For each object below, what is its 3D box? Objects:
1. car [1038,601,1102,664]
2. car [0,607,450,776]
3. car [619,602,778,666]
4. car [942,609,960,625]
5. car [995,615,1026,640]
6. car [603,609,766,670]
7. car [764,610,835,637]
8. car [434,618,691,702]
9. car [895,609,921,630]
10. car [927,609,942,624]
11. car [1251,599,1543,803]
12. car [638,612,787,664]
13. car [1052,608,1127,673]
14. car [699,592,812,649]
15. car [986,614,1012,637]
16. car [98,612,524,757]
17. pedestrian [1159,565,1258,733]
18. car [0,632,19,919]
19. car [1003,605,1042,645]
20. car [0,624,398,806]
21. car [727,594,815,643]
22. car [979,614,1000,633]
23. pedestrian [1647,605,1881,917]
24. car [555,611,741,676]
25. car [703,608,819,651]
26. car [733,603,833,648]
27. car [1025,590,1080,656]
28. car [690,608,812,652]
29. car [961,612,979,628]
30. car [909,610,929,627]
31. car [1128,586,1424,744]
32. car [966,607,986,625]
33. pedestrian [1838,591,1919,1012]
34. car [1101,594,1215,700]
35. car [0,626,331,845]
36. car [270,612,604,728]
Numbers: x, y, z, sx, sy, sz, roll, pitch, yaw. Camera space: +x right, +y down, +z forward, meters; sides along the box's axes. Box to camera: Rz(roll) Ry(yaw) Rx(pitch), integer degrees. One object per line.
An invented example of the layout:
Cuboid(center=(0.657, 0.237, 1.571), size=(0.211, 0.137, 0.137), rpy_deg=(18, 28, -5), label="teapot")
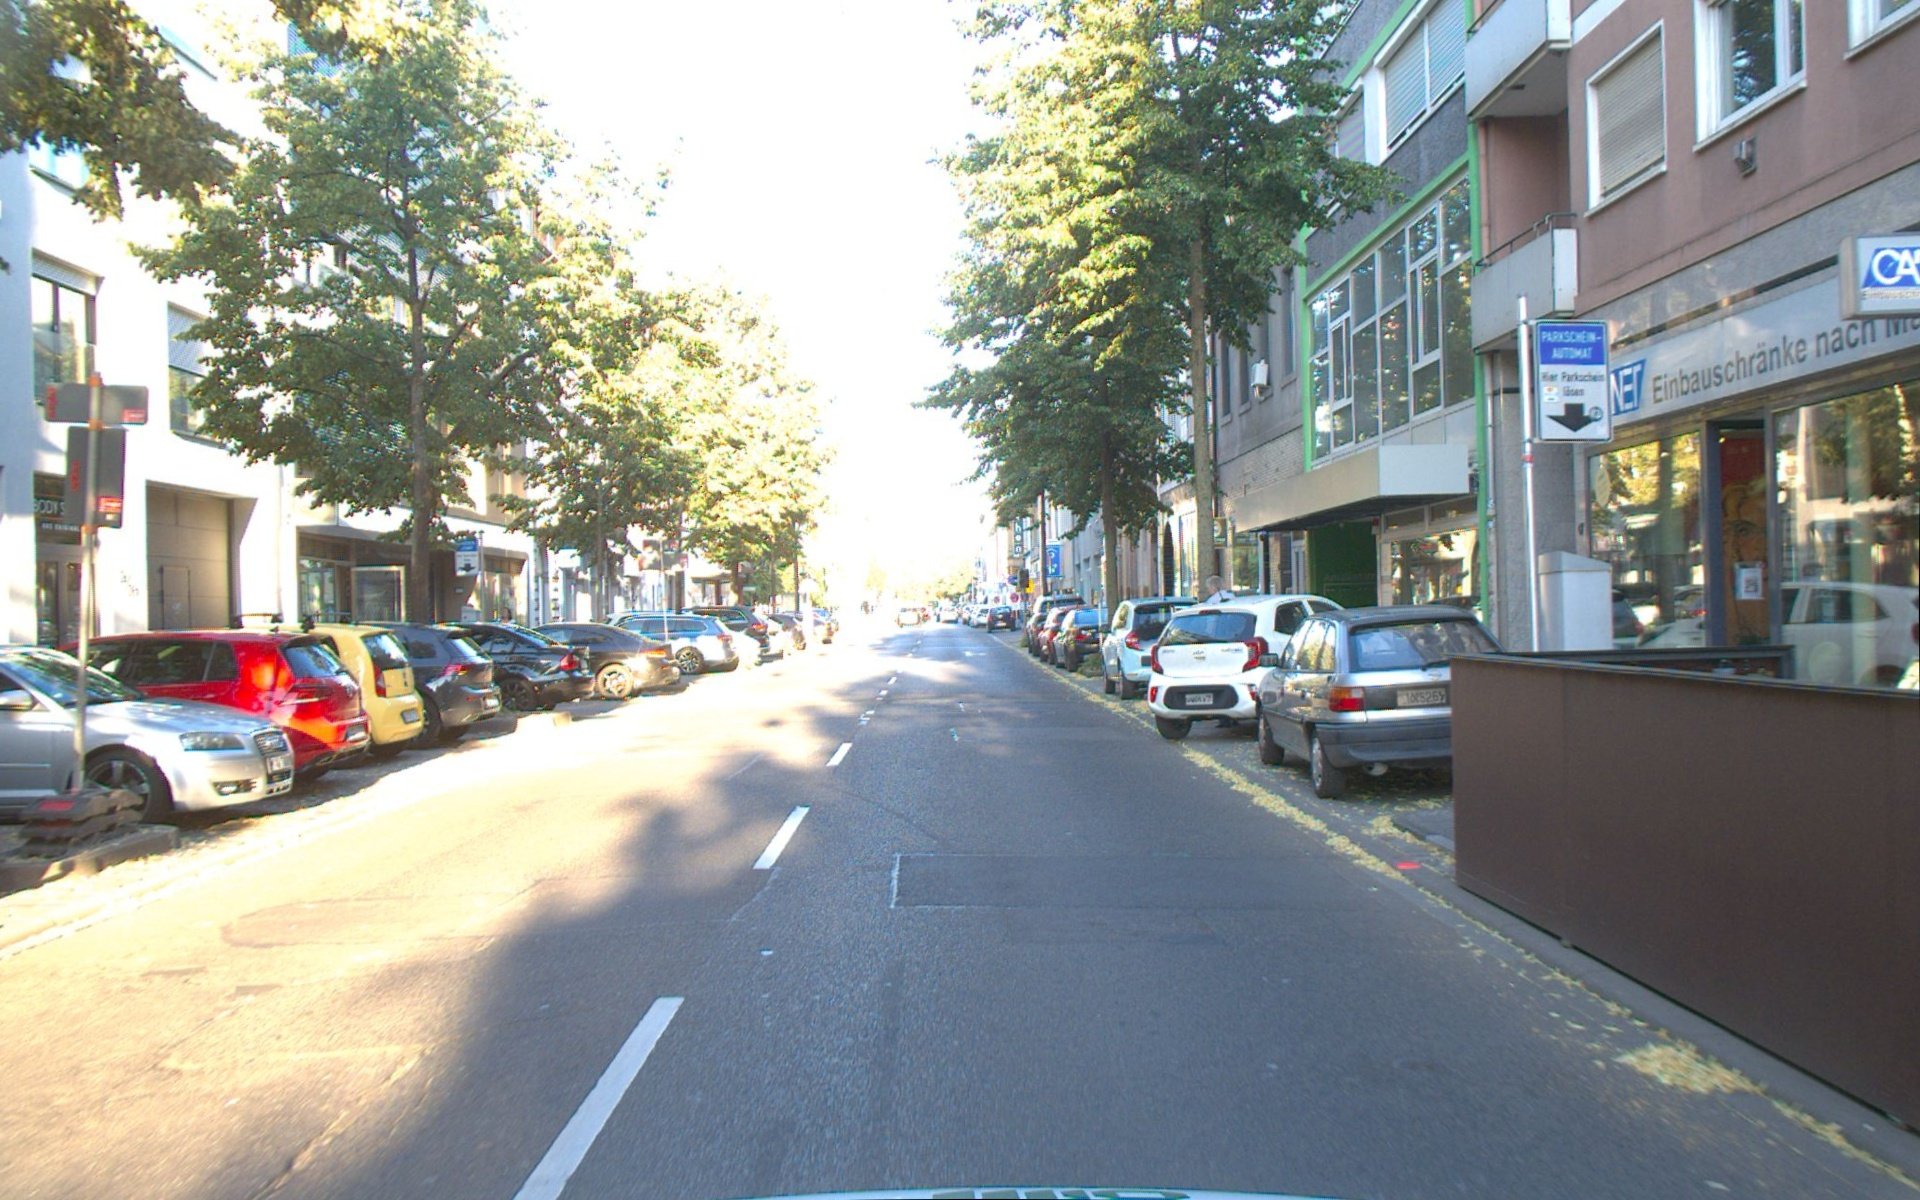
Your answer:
Cuboid(center=(2.921, 0.844, 44.299), size=(1.482, 1.589, 3.514), rpy_deg=(-1, 0, 0), label="car")
Cuboid(center=(-7.944, 0.937, 17.731), size=(4.351, 1.667, 1.859), rpy_deg=(-1, 0, 0), label="car")
Cuboid(center=(-7.640, 0.978, 48.575), size=(4.351, 1.790, 1.919), rpy_deg=(-1, 0, 0), label="car")
Cuboid(center=(-0.897, 1.710, 165.508), size=(1.685, 1.501, 3.303), rpy_deg=(-2, -1, 0), label="car")
Cuboid(center=(2.525, 1.363, 83.649), size=(1.482, 1.222, 3.303), rpy_deg=(-1, 0, 0), label="car")
Cuboid(center=(-7.692, 1.081, 46.472), size=(4.216, 1.626, 1.919), rpy_deg=(-1, 0, 0), label="car")
Cuboid(center=(-10.332, 1.506, 106.570), size=(4.351, 1.674, 1.919), rpy_deg=(-1, 0, 0), label="car")
Cuboid(center=(-7.421, 1.107, 31.203), size=(4.351, 1.474, 1.919), rpy_deg=(-1, 0, 0), label="car")
Cuboid(center=(-4.079, 1.542, 130.125), size=(1.888, 1.599, 3.303), rpy_deg=(-1, -1, -1), label="car")
Cuboid(center=(-2.728, 1.756, 178.819), size=(1.538, 1.532, 3.303), rpy_deg=(-2, -1, 0), label="car")
Cuboid(center=(3.496, 0.739, 13.860), size=(1.511, 1.458, 3.678), rpy_deg=(-1, 0, 1), label="car")
Cuboid(center=(-7.692, 1.168, 51.693), size=(4.351, 1.525, 1.919), rpy_deg=(-1, 0, 0), label="car")
Cuboid(center=(3.032, 0.915, 39.205), size=(1.482, 1.430, 3.837), rpy_deg=(-1, 0, 0), label="car")
Cuboid(center=(-8.362, 0.841, 67.919), size=(4.351, 2.238, 1.919), rpy_deg=(-1, 0, 0), label="car")
Cuboid(center=(2.315, 1.504, 98.497), size=(1.482, 1.298, 3.303), rpy_deg=(-1, 0, 0), label="car")
Cuboid(center=(-7.711, 0.977, 19.965), size=(4.351, 1.595, 1.919), rpy_deg=(-1, 0, 0), label="car")
Cuboid(center=(2.965, 0.571, 19.826), size=(0.900, 1.959, 1.015), rpy_deg=(0, 0, -11), label="pedestrian")
Cuboid(center=(-7.326, 0.965, 8.108), size=(4.351, 1.533, 1.844), rpy_deg=(-1, 0, 0), label="car")
Cuboid(center=(2.590, 1.042, 69.178), size=(1.482, 1.589, 3.773), rpy_deg=(-1, 0, 1), label="car")
Cuboid(center=(-7.591, 1.001, 14.979), size=(4.351, 1.484, 1.859), rpy_deg=(-1, 0, 0), label="car")
Cuboid(center=(-9.800, 0.949, 85.991), size=(4.351, 2.477, 1.919), rpy_deg=(-1, 0, 0), label="car")
Cuboid(center=(2.072, 1.619, 116.645), size=(1.482, 1.285, 3.303), rpy_deg=(-1, 0, 0), label="car")
Cuboid(center=(3.828, 0.734, 7.930), size=(0.711, 1.402, 0.781), rpy_deg=(-1, 0, -1), label="pedestrian")
Cuboid(center=(-7.883, 1.096, 42.069), size=(4.351, 1.549, 1.919), rpy_deg=(-1, 0, 0), label="car")
Cuboid(center=(-7.870, 1.147, 65.606), size=(4.351, 1.606, 1.919), rpy_deg=(-1, 0, 0), label="car")
Cuboid(center=(-8.069, 1.158, 75.852), size=(4.351, 1.994, 1.919), rpy_deg=(-1, 0, 0), label="car")
Cuboid(center=(2.802, 0.697, 50.886), size=(1.482, 1.897, 4.235), rpy_deg=(-1, 0, 1), label="car")
Cuboid(center=(-7.891, 1.116, 62.782), size=(4.351, 1.606, 1.919), rpy_deg=(-1, 0, 0), label="car")
Cuboid(center=(0.826, 1.663, 139.611), size=(1.482, 1.321, 3.303), rpy_deg=(-1, 0, 0), label="car")
Cuboid(center=(-3.906, 1.755, 158.795), size=(1.716, 1.567, 3.303), rpy_deg=(-2, -1, 0), label="car")
Cuboid(center=(3.720, 0.670, 19.067), size=(1.645, 1.616, 3.801), rpy_deg=(-1, 0, 42), label="car")
Cuboid(center=(1.440, 1.441, 150.990), size=(1.716, 1.567, 3.303), rpy_deg=(-2, -1, 0), label="car")
Cuboid(center=(3.549, 0.669, 5.598), size=(0.711, 1.402, 0.781), rpy_deg=(-1, 0, -1), label="pedestrian")
Cuboid(center=(3.179, 0.731, 26.981), size=(1.482, 1.605, 3.218), rpy_deg=(-1, 0, 1), label="car")
Cuboid(center=(-7.351, 0.994, 12.665), size=(4.351, 1.510, 1.809), rpy_deg=(-1, 0, 0), label="car")
Cuboid(center=(-7.701, 1.008, 24.678), size=(4.351, 1.595, 1.919), rpy_deg=(-1, 0, 0), label="car")
